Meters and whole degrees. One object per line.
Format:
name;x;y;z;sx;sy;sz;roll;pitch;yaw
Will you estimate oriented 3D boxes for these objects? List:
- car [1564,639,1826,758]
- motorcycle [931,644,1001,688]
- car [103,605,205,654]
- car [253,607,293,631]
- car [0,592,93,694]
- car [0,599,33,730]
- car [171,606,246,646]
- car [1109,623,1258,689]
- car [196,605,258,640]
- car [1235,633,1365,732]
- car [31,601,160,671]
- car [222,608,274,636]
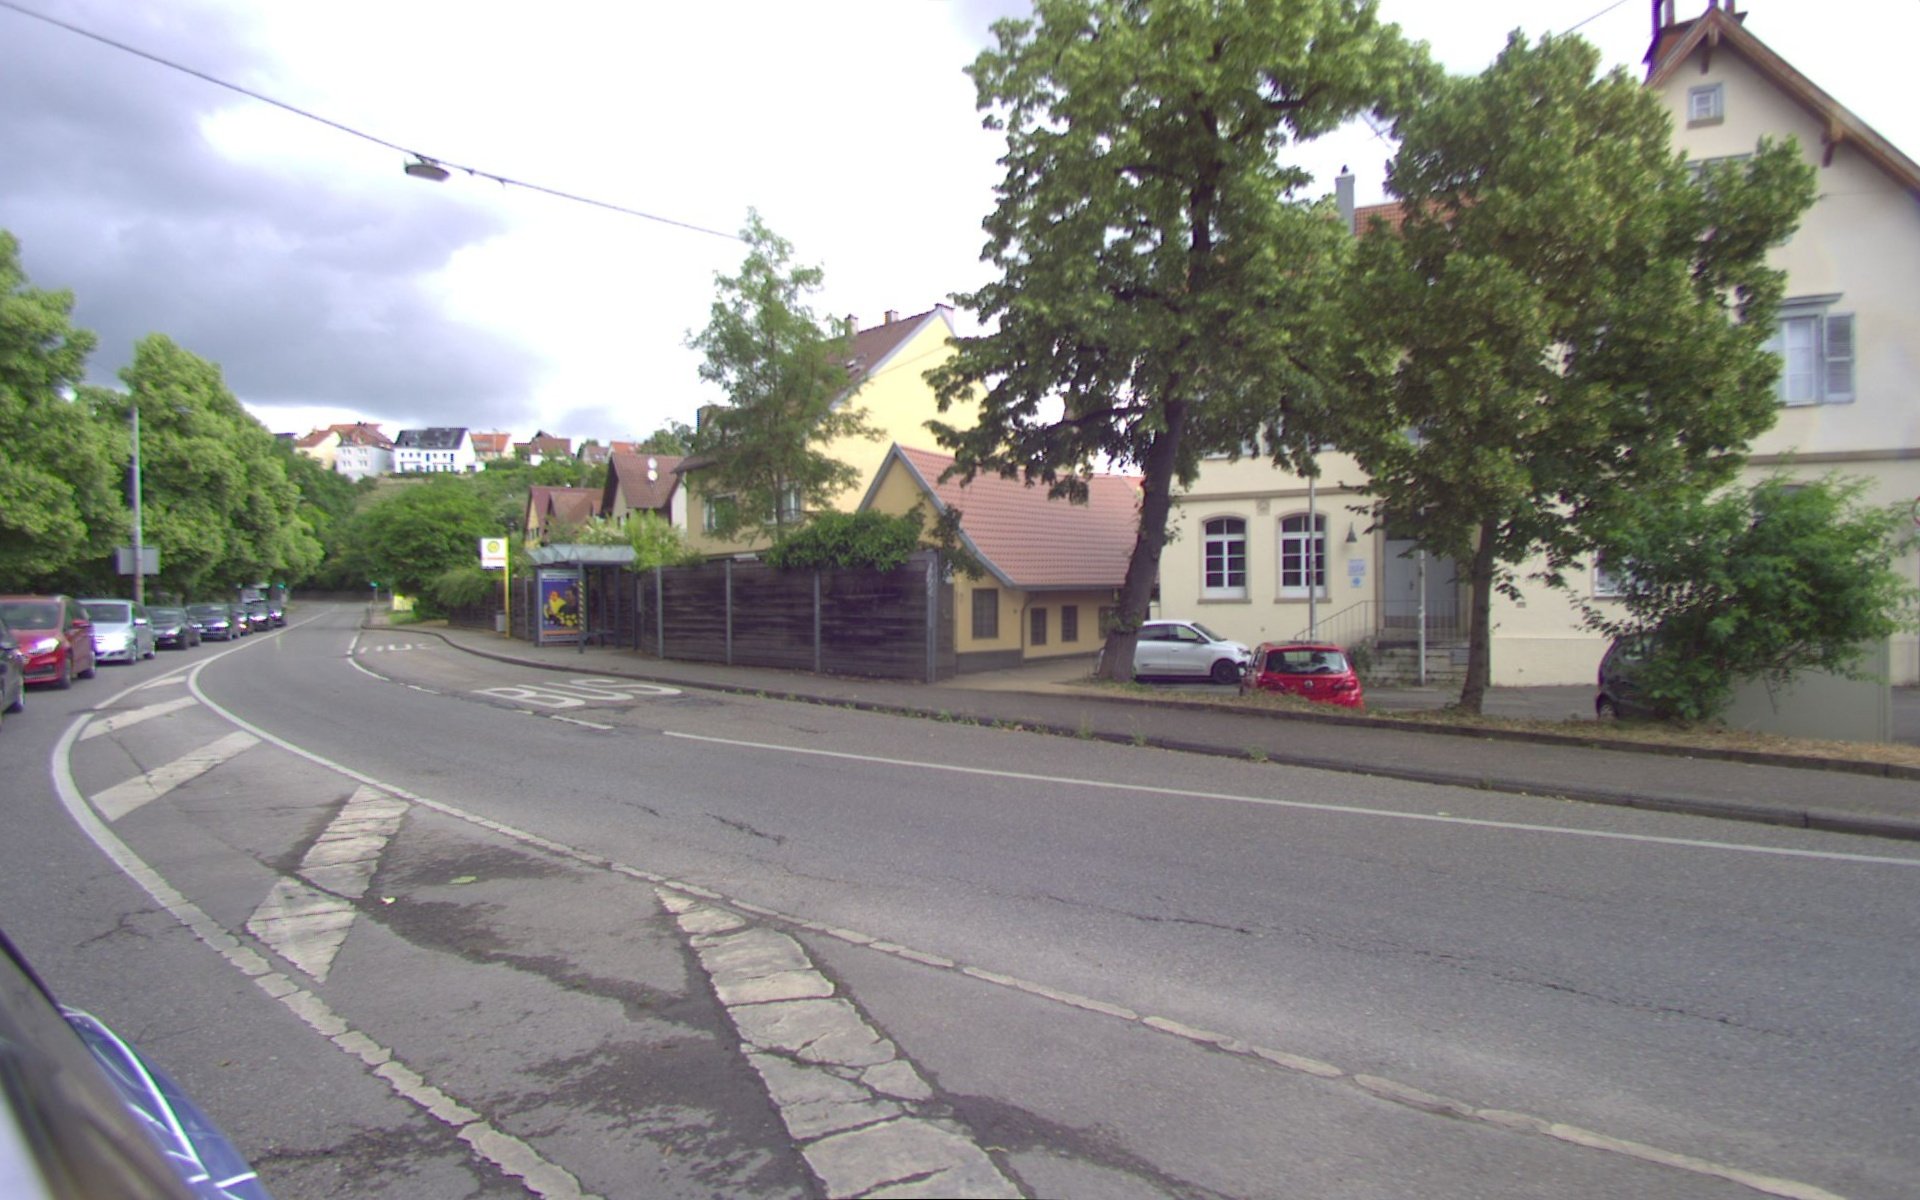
car;10.058;1.276;14.166;1.466;1.320;3.392;0;0;7
motorcycle;0.137;1.365;21.026;1.559;0.830;0.419;0;0;-41
car;-25.796;0.896;32.517;1.823;1.468;4.013;0;0;-27
car;-37.568;1.004;55.378;1.396;1.259;3.306;0;0;-27
car;-16.884;0.705;18.143;1.648;1.654;4.111;0;0;-35
car;-13.130;0.750;12.894;1.704;1.532;4.007;0;0;-39
car;-28.616;0.947;38.639;1.669;1.422;3.995;0;0;-27
car;5.571;1.351;25.162;3.456;1.503;1.643;0;0;21
car;-32.130;0.958;44.472;1.679;1.457;3.879;0;0;-28
car;5.635;1.304;17.133;1.582;1.363;3.617;0;0;11
car;-21.269;0.813;25.060;1.754;1.580;4.012;0;0;-31
car;-34.829;1.053;49.587;1.617;1.278;3.637;0;0;-27
